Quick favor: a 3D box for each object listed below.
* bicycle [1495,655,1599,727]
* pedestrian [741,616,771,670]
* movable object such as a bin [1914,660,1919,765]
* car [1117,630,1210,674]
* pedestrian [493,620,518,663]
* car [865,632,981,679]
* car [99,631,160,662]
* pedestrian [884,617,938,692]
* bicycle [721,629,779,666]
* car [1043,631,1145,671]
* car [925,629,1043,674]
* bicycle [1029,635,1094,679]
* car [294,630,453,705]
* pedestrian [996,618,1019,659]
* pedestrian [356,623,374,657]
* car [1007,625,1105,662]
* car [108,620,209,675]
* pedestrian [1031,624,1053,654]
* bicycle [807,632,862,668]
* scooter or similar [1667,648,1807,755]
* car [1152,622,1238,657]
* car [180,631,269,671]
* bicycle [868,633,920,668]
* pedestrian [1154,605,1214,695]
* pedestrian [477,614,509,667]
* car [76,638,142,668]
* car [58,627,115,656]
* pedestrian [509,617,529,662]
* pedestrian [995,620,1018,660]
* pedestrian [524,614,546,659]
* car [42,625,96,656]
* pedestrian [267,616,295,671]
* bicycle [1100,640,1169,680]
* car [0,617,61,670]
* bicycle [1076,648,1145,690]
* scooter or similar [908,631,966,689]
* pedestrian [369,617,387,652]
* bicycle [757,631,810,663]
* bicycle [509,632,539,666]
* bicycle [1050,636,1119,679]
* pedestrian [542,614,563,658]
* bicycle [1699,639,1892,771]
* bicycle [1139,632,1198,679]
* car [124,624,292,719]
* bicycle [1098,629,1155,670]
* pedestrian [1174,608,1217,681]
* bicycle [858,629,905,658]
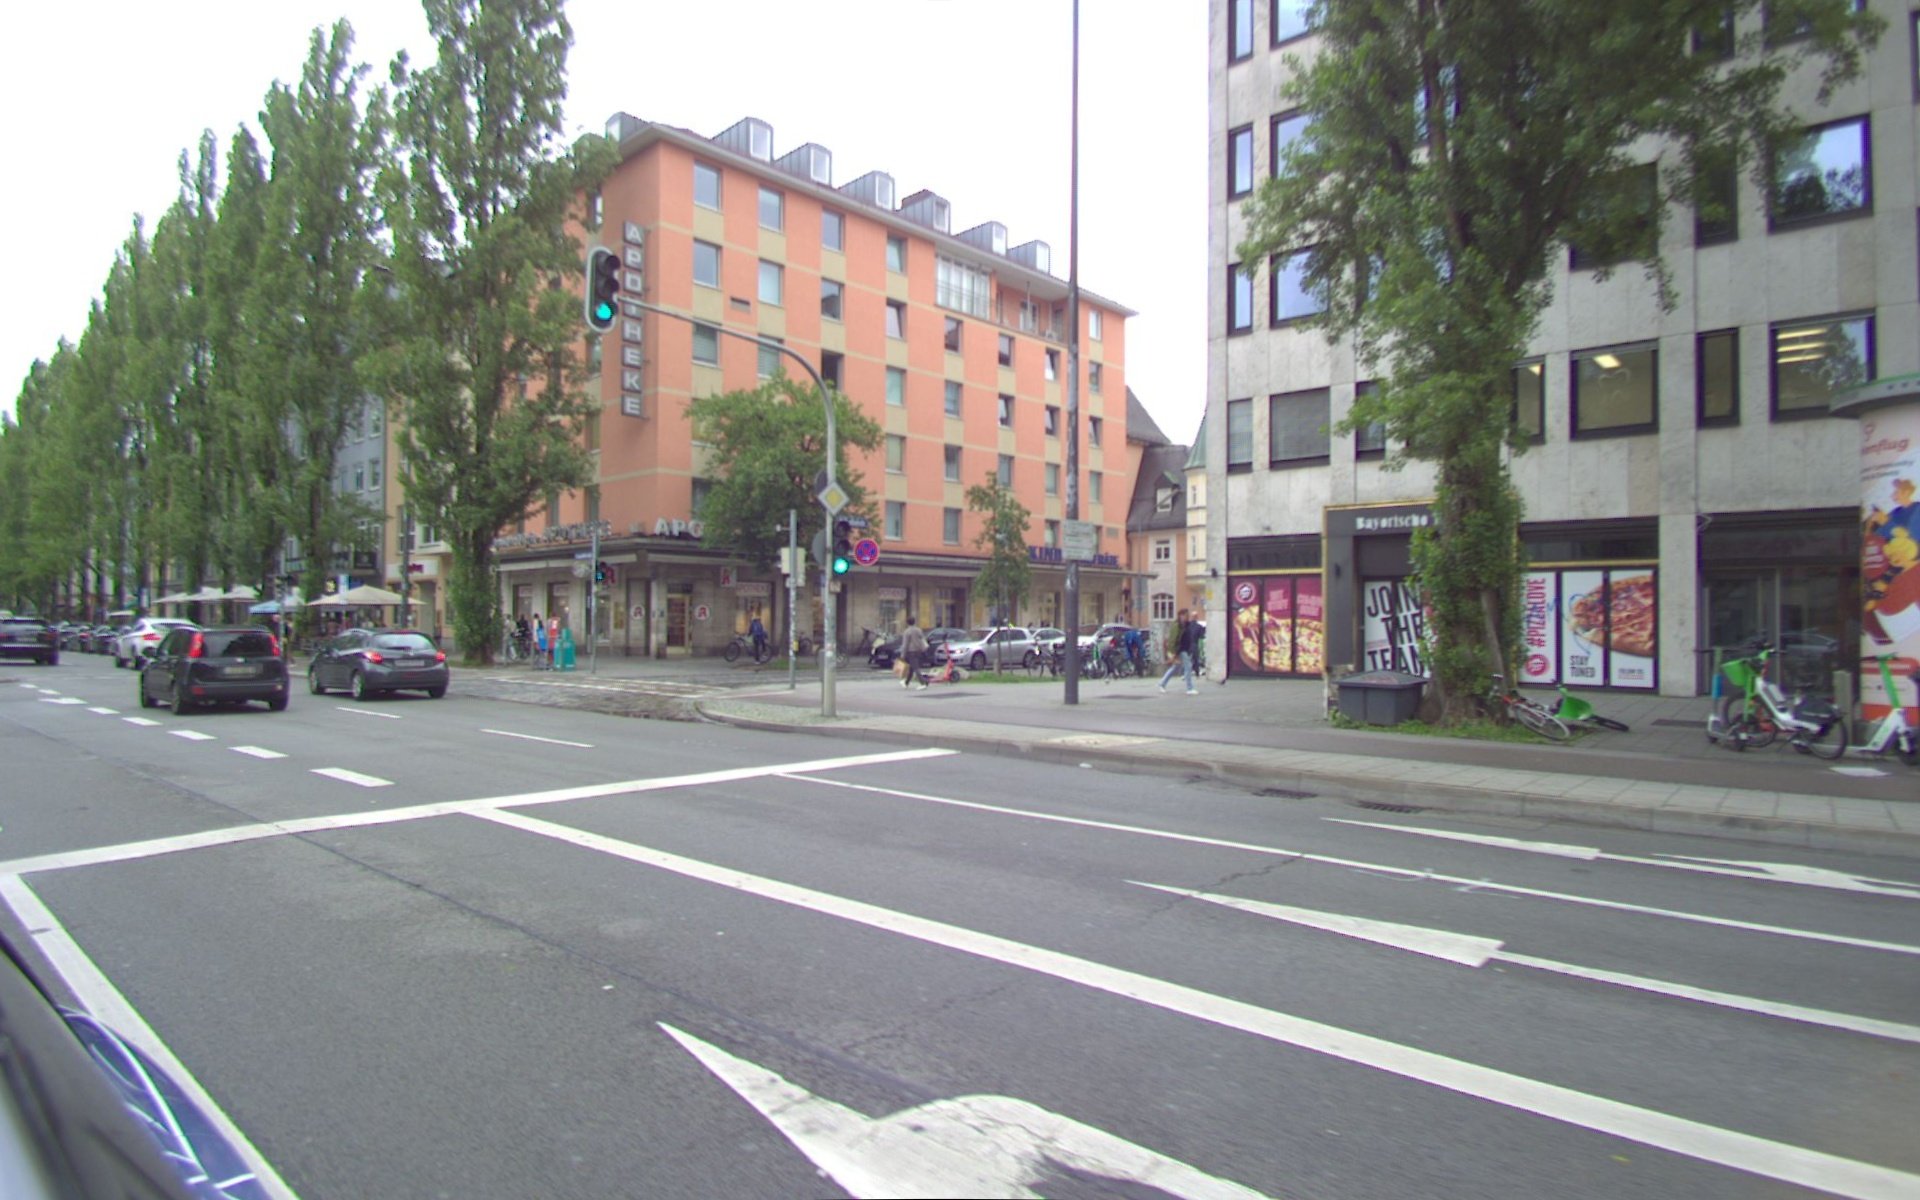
[{"bbox_3d":[7.928,1.201,13.761,0.827,0.514,1.940,22,8,21],"label":"bicycle"},{"bbox_3d":[-6.955,1.454,34.490,0.691,1.780,0.770,-1,-2,41],"label":"pedestrian"},{"bbox_3d":[9.940,1.121,9.729,0.846,1.049,0.722,-1,0,12],"label":"movable object such as a bin"},{"bbox_3d":[7.365,1.814,36.381,1.771,1.486,3.654,-1,-2,40],"label":"car"},{"bbox_3d":[-16.883,1.541,37.600,0.548,1.595,0.649,-2,-2,42],"label":"pedestrian"},{"bbox_3d":[-1.315,1.952,36.493,3.938,1.431,1.784,-1,0,-41],"label":"car"},{"bbox_3d":[-39.257,2.172,47.786,4.184,1.392,1.478,-1,-3,41],"label":"car"},{"bbox_3d":[-1.102,1.194,22.557,0.934,1.631,0.770,-2,-2,40],"label":"pedestrian"},{"bbox_3d":[-7.314,1.656,35.295,2.031,1.193,0.417,-1,0,-42],"label":"bicycle"},{"bbox_3d":[5.232,1.938,39.319,3.937,1.431,1.745,1,-2,-41],"label":"car"},{"bbox_3d":[0.858,1.730,35.066,3.937,1.431,1.784,1,-2,-41],"label":"car"},{"bbox_3d":[2.852,1.585,28.520,1.848,1.193,0.411,-1,-2,34],"label":"bicycle"},{"bbox_3d":[-12.510,1.374,21.505,3.994,1.450,1.625,-1,-3,40],"label":"car"},{"bbox_3d":[2.083,1.669,44.207,0.780,1.780,0.656,-1,-2,40],"label":"pedestrian"},{"bbox_3d":[-29.928,2.003,50.883,0.691,1.651,0.549,-2,-2,40],"label":"pedestrian"},{"bbox_3d":[4.010,1.759,41.923,3.887,1.431,1.894,1,-2,-41],"label":"car"},{"bbox_3d":[-26.992,1.562,34.022,4.633,1.729,1.818,-1,-3,41],"label":"car"},{"bbox_3d":[3.917,1.849,48.350,0.780,1.401,0.656,-1,0,40],"label":"pedestrian"},{"bbox_3d":[-4.180,1.647,33.621,2.058,1.193,0.411,-1,-2,34],"label":"bicycle"},{"bbox_3d":[8.922,1.130,11.690,0.383,1.122,1.562,0,-1,0],"label":"scooter or similar"},{"bbox_3d":[10.231,1.666,43.888,1.787,1.431,4.009,0,-1,45],"label":"car"},{"bbox_3d":[-28.799,1.958,39.585,4.585,1.449,1.686,-1,-3,39],"label":"car"},{"bbox_3d":[-2.475,1.884,38.047,2.031,1.193,0.538,-1,0,-42],"label":"bicycle"},{"bbox_3d":[4.509,0.995,20.399,0.941,1.753,0.719,-1,0,40],"label":"pedestrian"},{"bbox_3d":[-15.832,1.364,34.333,0.777,1.784,0.717,-2,-2,42],"label":"pedestrian"},{"bbox_3d":[-42.944,2.652,51.022,4.429,1.423,1.686,-1,-3,39],"label":"car"},{"bbox_3d":[-46.962,2.200,54.398,4.367,1.477,1.660,-1,-3,41],"label":"car"},{"bbox_3d":[-16.666,1.500,38.242,0.626,1.683,0.502,-1,-1,42],"label":"pedestrian"},{"bbox_3d":[2.123,1.812,46.380,0.780,1.780,0.656,-1,0,40],"label":"pedestrian"},{"bbox_3d":[-16.315,1.386,38.832,0.519,1.701,0.623,-1,0,41],"label":"pedestrian"},{"bbox_3d":[-51.678,2.313,58.688,4.585,1.693,1.761,-1,-3,42],"label":"car"},{"bbox_3d":[-23.022,1.474,34.327,0.725,1.809,0.995,-1,0,-31],"label":"pedestrian"},{"bbox_3d":[5.392,1.835,31.265,2.051,1.193,0.447,-1,-2,25],"label":"bicycle"},{"bbox_3d":[-33.011,1.481,35.339,4.437,1.759,1.865,-1,-2,41],"label":"car"},{"bbox_3d":[4.430,2.014,29.832,1.994,1.193,0.413,-1,-2,21],"label":"bicycle"},{"bbox_3d":[-0.540,1.417,24.194,1.342,1.349,0.439,1,-2,-29],"label":"scooter or similar"},{"bbox_3d":[-29.493,1.741,51.282,0.691,1.731,0.549,-2,-2,40],"label":"pedestrian"},{"bbox_3d":[-6.790,1.796,38.975,0.690,1.193,2.034,-2,-2,43],"label":"bicycle"},{"bbox_3d":[-15.043,1.681,34.918,1.373,1.150,0.416,-1,-2,42],"label":"bicycle"},{"bbox_3d":[3.568,1.629,29.147,2.027,1.193,0.411,-1,-2,34],"label":"bicycle"},{"bbox_3d":[-15.863,1.384,39.382,0.513,1.704,0.580,-2,-2,40],"label":"pedestrian"},{"bbox_3d":[9.449,1.139,11.561,0.501,1.299,1.955,-1,0,-2],"label":"bicycle"},{"bbox_3d":[5.819,1.529,28.176,0.558,1.259,2.108,-2,-2,44],"label":"bicycle"},{"bbox_3d":[-13.446,1.206,18.032,3.691,1.507,1.546,-1,-3,40],"label":"car"},{"bbox_3d":[5.036,1.491,30.807,0.409,1.193,2.069,1,-2,-33],"label":"bicycle"},{"bbox_3d":[5.956,1.120,25.623,0.689,1.801,0.823,0,-2,-20],"label":"pedestrian"},{"bbox_3d":[-3.279,1.818,42.513,0.690,1.193,2.034,-2,-2,43],"label":"bicycle"}]
